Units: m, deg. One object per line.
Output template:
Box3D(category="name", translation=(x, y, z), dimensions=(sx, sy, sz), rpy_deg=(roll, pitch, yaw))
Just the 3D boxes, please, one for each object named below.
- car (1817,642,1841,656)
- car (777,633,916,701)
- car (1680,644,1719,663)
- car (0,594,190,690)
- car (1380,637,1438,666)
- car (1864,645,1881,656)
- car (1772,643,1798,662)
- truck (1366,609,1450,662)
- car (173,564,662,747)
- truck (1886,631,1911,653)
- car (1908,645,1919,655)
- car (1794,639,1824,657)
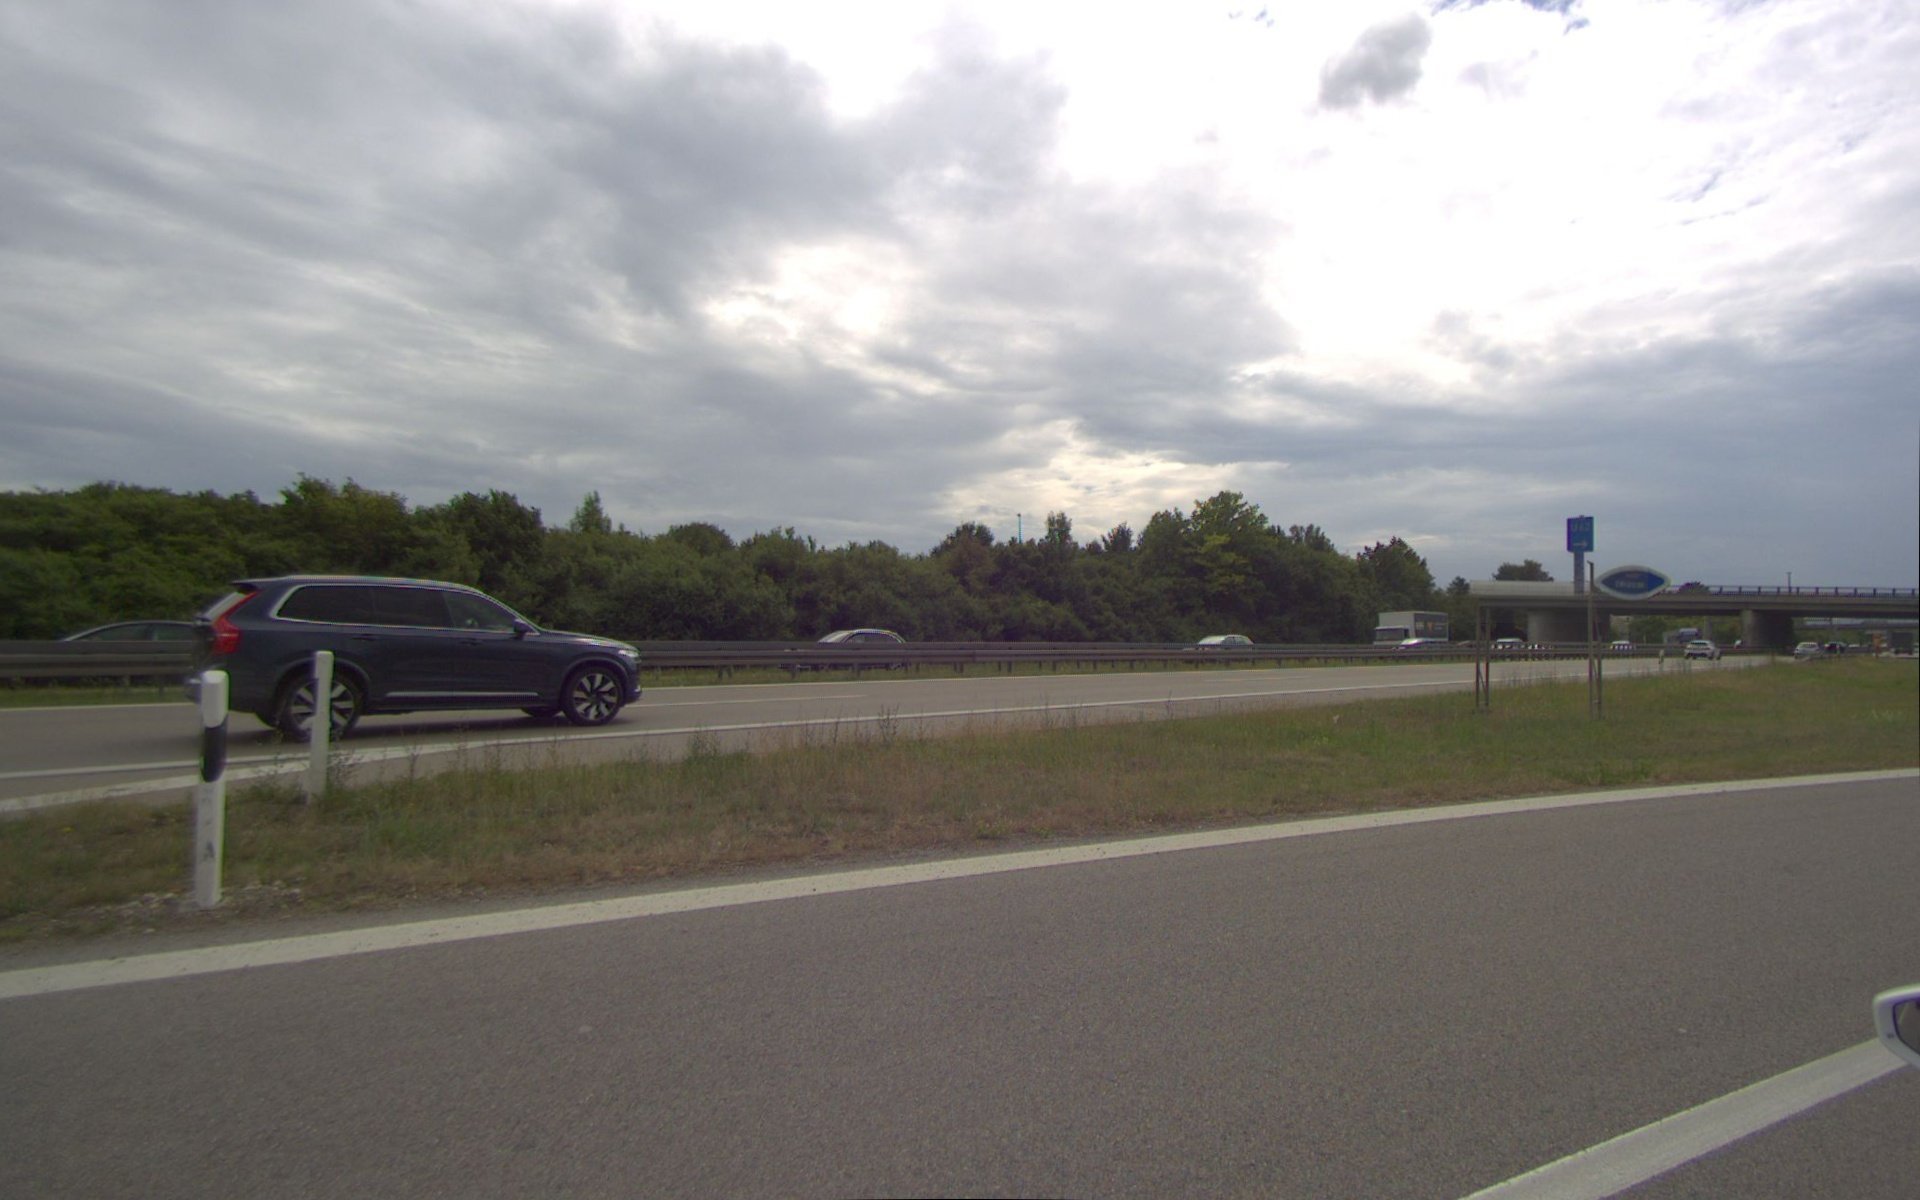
Box3D(category="car", translation=(115.050, 6.476, 132.930), dimensions=(4.796, 1.766, 1.974), rpy_deg=(3, -3, -44))
Box3D(category="car", translation=(-3.653, 2.137, 32.782), dimensions=(4.188, 2.040, 1.907), rpy_deg=(3, -2, -43))
Box3D(category="car", translation=(57.868, 4.168, 78.591), dimensions=(1.817, 1.472, 4.351), rpy_deg=(-1, -2, 45))
Box3D(category="car", translation=(-17.158, 0.767, 18.912), dimensions=(1.973, 1.706, 3.975), rpy_deg=(0, -2, 45))
Box3D(category="car", translation=(27.986, 3.194, 62.559), dimensions=(3.973, 1.650, 1.974), rpy_deg=(3, -2, -44))
Box3D(category="car", translation=(151.768, 8.317, 166.988), dimensions=(4.307, 1.782, 1.827), rpy_deg=(3, -2, -44))
Box3D(category="car", translation=(90.727, 5.764, 110.487), dimensions=(1.972, 2.040, 3.978), rpy_deg=(2, -1, 43))
Box3D(category="truck", translation=(32.683, 2.601, 73.107), dimensions=(8.141, 3.694, 2.732), rpy_deg=(3, -2, -44))
Box3D(category="car", translation=(-6.356, 0.627, 12.192), dimensions=(4.888, 1.785, 1.975), rpy_deg=(2, -2, -42))
Box3D(category="truck", translation=(145.974, 6.532, 156.276), dimensions=(7.871, 3.415, 2.443), rpy_deg=(3, -3, -44))
Box3D(category="car", translation=(176.428, 9.226, 185.424), dimensions=(4.455, 1.774, 1.859), rpy_deg=(2, -2, -43))
Box3D(category="car", translation=(75.347, 4.257, 89.149), dimensions=(3.974, 1.539, 1.700), rpy_deg=(3, -2, -45))
